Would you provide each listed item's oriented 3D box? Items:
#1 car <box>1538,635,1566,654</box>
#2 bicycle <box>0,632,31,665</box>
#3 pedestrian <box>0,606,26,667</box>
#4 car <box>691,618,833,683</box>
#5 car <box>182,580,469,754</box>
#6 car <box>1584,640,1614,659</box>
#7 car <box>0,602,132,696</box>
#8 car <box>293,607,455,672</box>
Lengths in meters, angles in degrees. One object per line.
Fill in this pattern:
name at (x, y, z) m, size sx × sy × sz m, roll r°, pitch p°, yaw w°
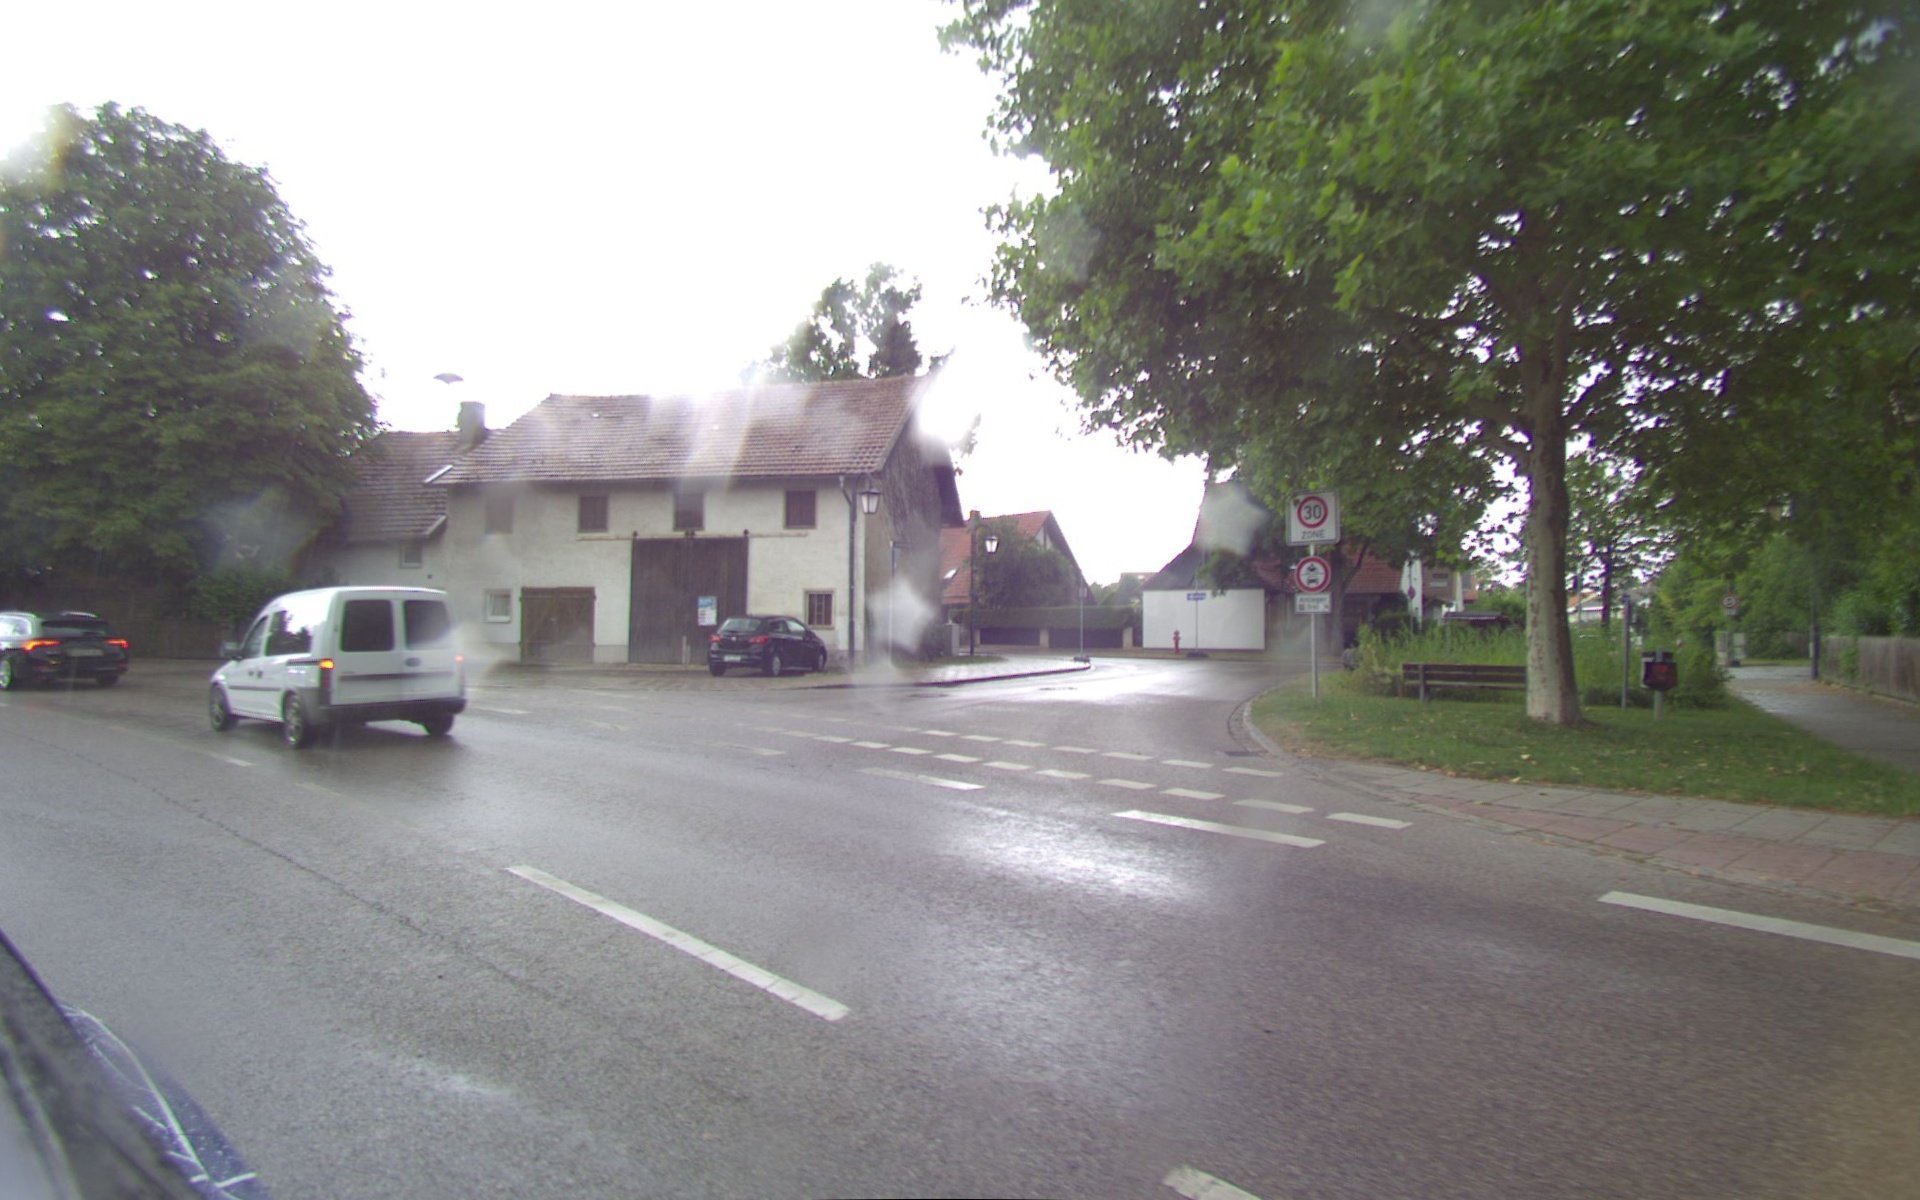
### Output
car at (54.148, 4.053, 92.621) m, size 1.991 × 1.453 × 3.962 m, roll 0°, pitch 0°, yaw 28°
bicycle at (-27.021, 1.338, 28.063) m, size 1.847 × 0.909 × 0.664 m, roll 0°, pitch -1°, yaw -2°
pedestrian at (-25.875, 0.978, 27.482) m, size 0.642 × 1.640 × 0.480 m, roll 1°, pitch -1°, yaw -31°
car at (-4.748, 1.171, 24.901) m, size 1.803 × 1.447 × 4.261 m, roll 0°, pitch -1°, yaw 14°
car at (-7.823, 0.726, 12.324) m, size 4.326 × 1.778 × 1.624 m, roll -1°, pitch -2°, yaw 39°
car at (55.363, 4.289, 87.753) m, size 1.992 × 1.453 × 3.960 m, roll 0°, pitch 0°, yaw 29°
car at (-18.231, 0.895, 19.968) m, size 4.435 × 1.675 × 1.769 m, roll -1°, pitch -1°, yaw 35°
car at (-15.325, 1.060, 26.769) m, size 1.792 × 1.560 × 4.281 m, roll 1°, pitch -3°, yaw 0°
